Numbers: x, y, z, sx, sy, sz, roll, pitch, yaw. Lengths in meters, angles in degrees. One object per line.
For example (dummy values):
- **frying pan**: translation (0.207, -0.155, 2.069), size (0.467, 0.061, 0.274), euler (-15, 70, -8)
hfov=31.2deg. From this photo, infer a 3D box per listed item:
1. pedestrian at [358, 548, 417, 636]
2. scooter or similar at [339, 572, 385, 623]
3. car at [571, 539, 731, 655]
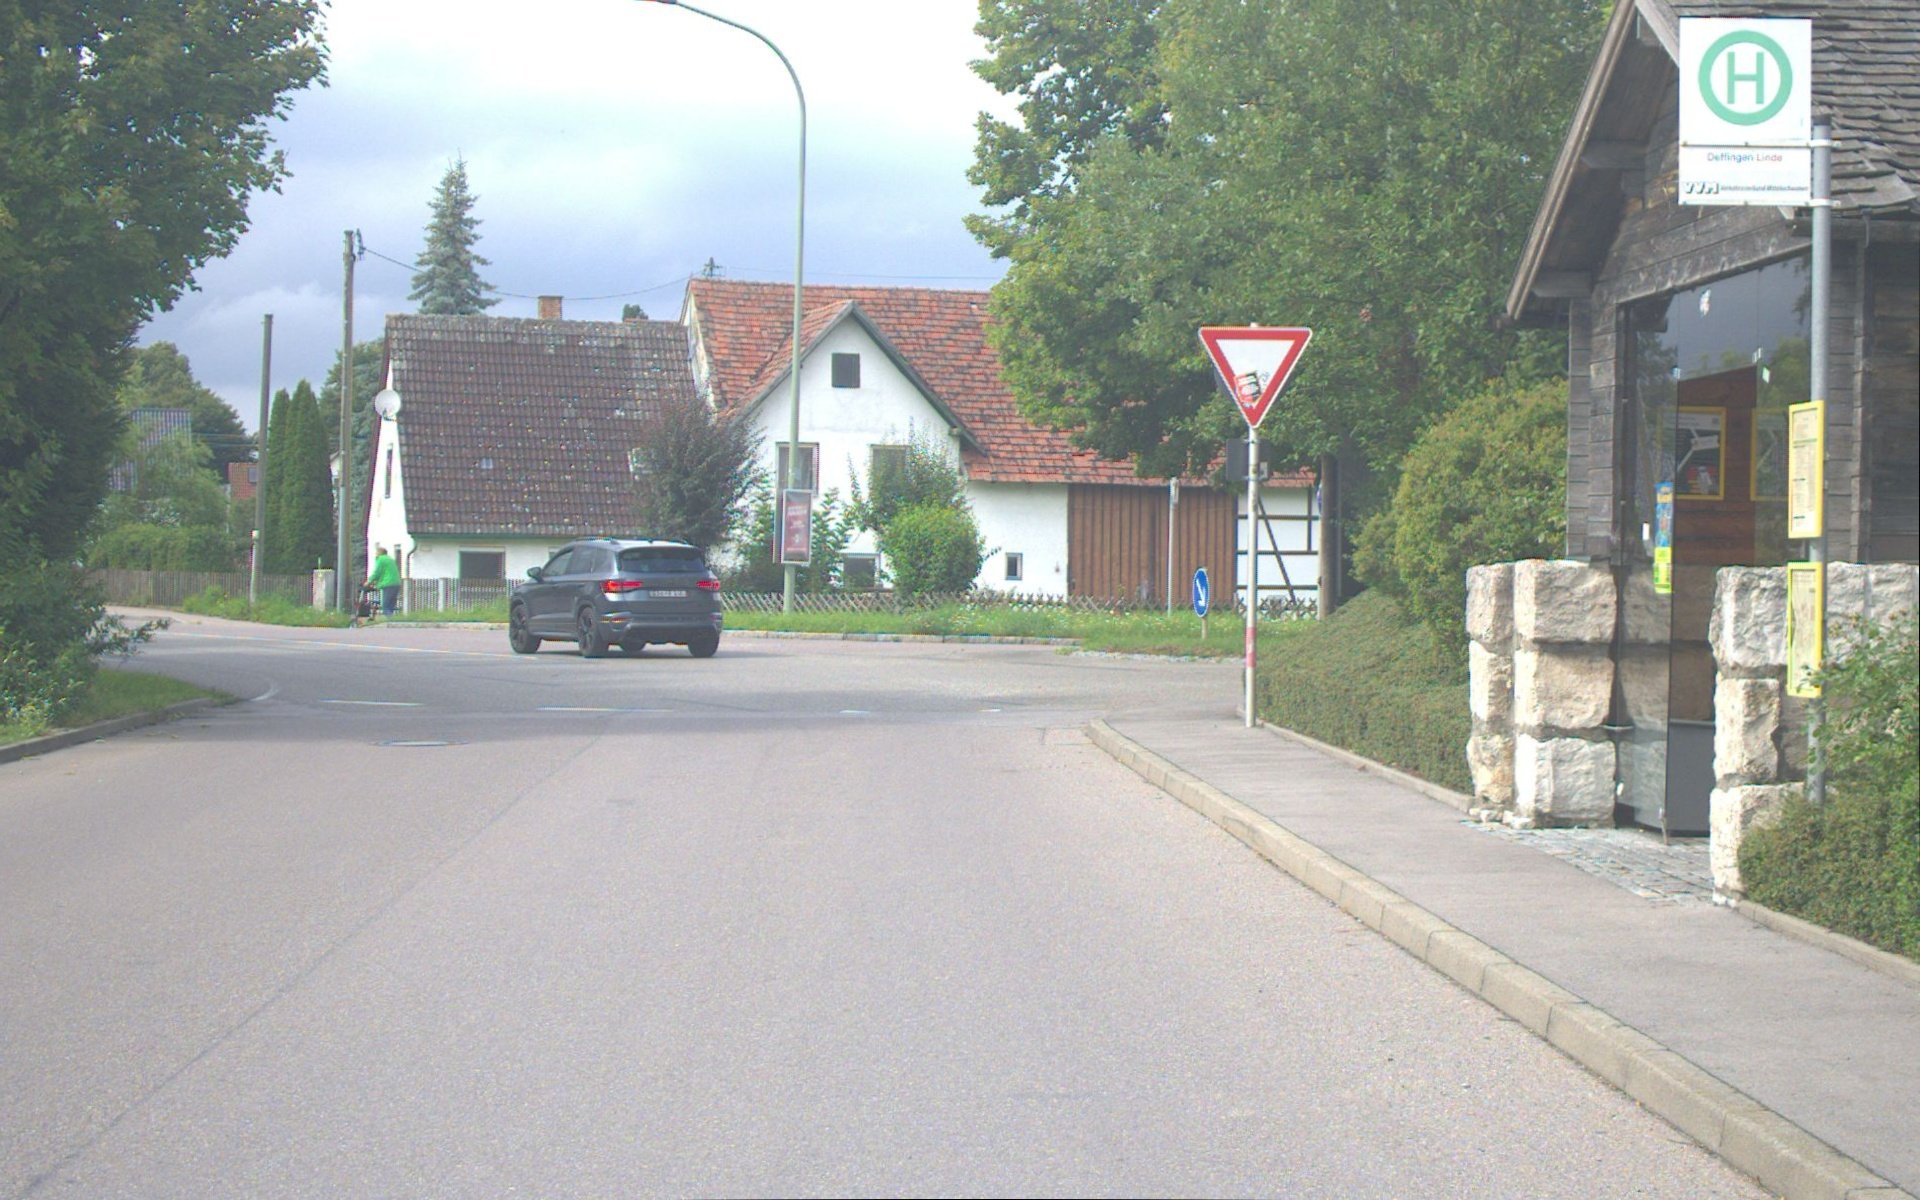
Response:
- **pedestrian**: translation (-11.266, -0.157, 67.608), size (0.788, 1.659, 0.712), euler (6, -2, -34)
- **scooter or similar**: translation (-11.847, -0.053, 68.081), size (0.630, 0.945, 0.622), euler (6, -2, -34)
- **car**: translation (-4.116, -0.071, 46.271), size (1.798, 1.457, 3.662), euler (1, 1, 0)
